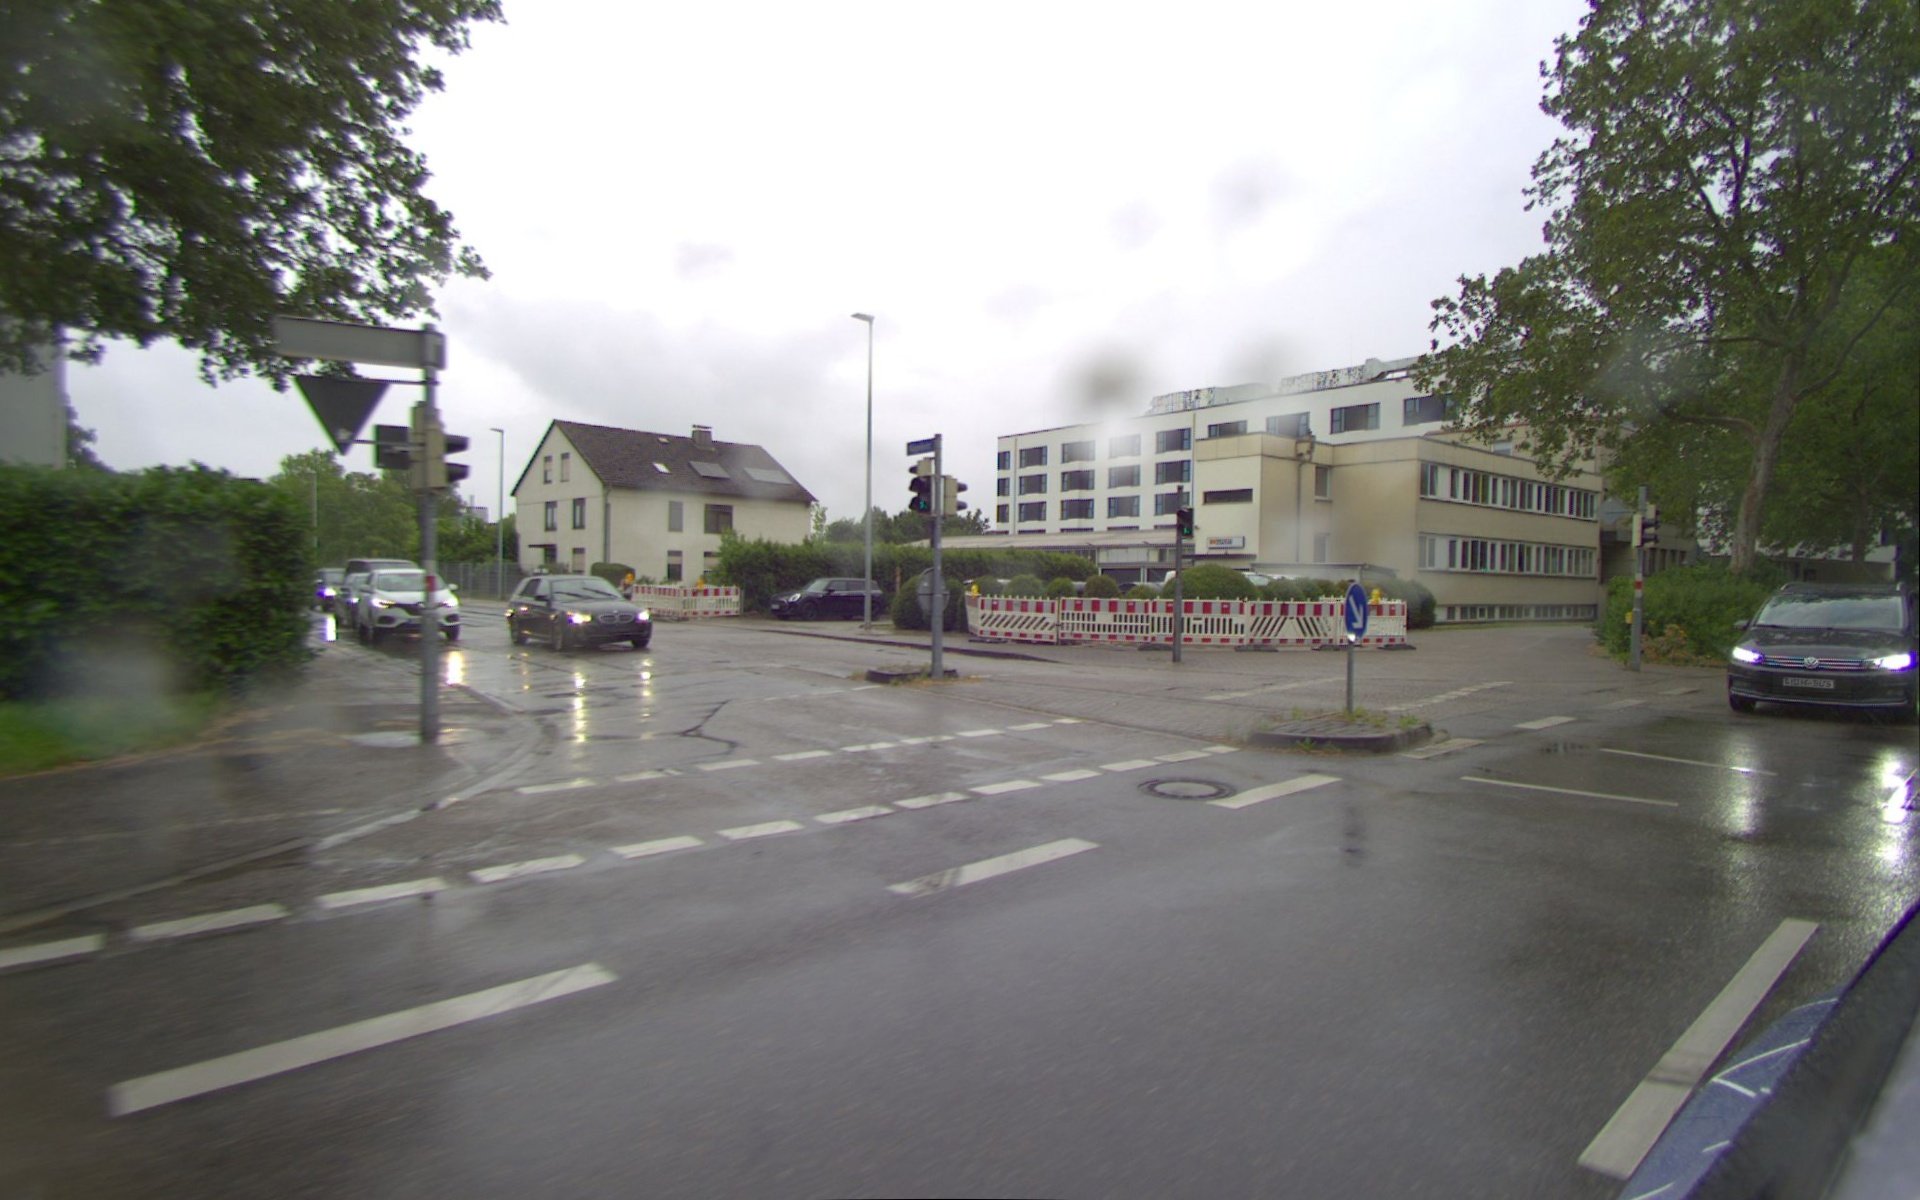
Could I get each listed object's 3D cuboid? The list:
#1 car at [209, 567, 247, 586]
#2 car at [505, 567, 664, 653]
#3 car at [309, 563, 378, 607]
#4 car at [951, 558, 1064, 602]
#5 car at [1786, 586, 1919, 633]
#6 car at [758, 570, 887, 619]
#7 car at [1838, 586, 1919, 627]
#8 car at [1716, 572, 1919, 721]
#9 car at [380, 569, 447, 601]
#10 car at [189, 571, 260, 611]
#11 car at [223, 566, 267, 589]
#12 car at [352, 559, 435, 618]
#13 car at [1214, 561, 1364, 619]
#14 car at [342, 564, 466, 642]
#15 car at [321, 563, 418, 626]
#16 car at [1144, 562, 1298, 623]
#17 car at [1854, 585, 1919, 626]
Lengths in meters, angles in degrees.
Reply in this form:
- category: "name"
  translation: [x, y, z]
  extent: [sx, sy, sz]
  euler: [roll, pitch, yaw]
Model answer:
- category: "car"
  translation: [-58.833, -1.908, 81.326]
  extent: [4.023, 1.477, 1.723]
  euler: [3, 2, 42]
- category: "car"
  translation: [-7.794, 0.108, 20.762]
  extent: [1.819, 1.501, 4.389]
  euler: [-2, 3, -38]
- category: "car"
  translation: [-24.076, -0.621, 39.461]
  extent: [1.793, 1.610, 4.303]
  euler: [0, 2, -38]
- category: "car"
  translation: [1.879, -0.777, 39.362]
  extent: [4.229, 1.610, 1.824]
  euler: [-1, 2, -40]
- category: "car"
  translation: [30.472, 0.282, 34.154]
  extent: [3.656, 1.434, 1.760]
  euler: [2, 2, 26]
- category: "car"
  translation: [-4.638, -0.205, 34.439]
  extent: [3.989, 1.551, 1.824]
  euler: [-1, 2, -39]
- category: "car"
  translation: [34.915, 0.242, 37.210]
  extent: [3.661, 1.434, 1.731]
  euler: [2, 2, 30]
- category: "car"
  translation: [11.937, 0.467, 13.510]
  extent: [5.495, 1.614, 1.996]
  euler: [-1, 2, -43]
- category: "car"
  translation: [-27.322, -0.781, 50.526]
  extent: [4.023, 1.477, 1.723]
  euler: [3, 2, 42]
- category: "car"
  translation: [-32.574, -0.442, 44.789]
  extent: [4.292, 1.610, 1.798]
  euler: [3, 2, 43]
- category: "car"
  translation: [-47.647, -1.510, 67.432]
  extent: [1.868, 1.446, 4.852]
  euler: [0, 2, -41]
- category: "car"
  translation: [-19.033, -0.431, 33.910]
  extent: [1.793, 1.819, 4.481]
  euler: [0, 2, -38]
- category: "car"
  translation: [10.834, -0.388, 33.601]
  extent: [1.717, 1.779, 4.550]
  euler: [0, 2, -38]
- category: "car"
  translation: [-13.011, -0.007, 23.555]
  extent: [1.854, 1.610, 4.303]
  euler: [0, 2, -38]
- category: "car"
  translation: [-16.791, -0.205, 28.680]
  extent: [1.793, 1.610, 4.303]
  euler: [0, 2, -38]
- category: "car"
  translation: [8.220, -0.301, 32.208]
  extent: [1.750, 1.779, 4.546]
  euler: [0, 2, -41]
- category: "car"
  translation: [38.836, 0.239, 40.620]
  extent: [3.996, 1.558, 1.735]
  euler: [2, 2, 25]
